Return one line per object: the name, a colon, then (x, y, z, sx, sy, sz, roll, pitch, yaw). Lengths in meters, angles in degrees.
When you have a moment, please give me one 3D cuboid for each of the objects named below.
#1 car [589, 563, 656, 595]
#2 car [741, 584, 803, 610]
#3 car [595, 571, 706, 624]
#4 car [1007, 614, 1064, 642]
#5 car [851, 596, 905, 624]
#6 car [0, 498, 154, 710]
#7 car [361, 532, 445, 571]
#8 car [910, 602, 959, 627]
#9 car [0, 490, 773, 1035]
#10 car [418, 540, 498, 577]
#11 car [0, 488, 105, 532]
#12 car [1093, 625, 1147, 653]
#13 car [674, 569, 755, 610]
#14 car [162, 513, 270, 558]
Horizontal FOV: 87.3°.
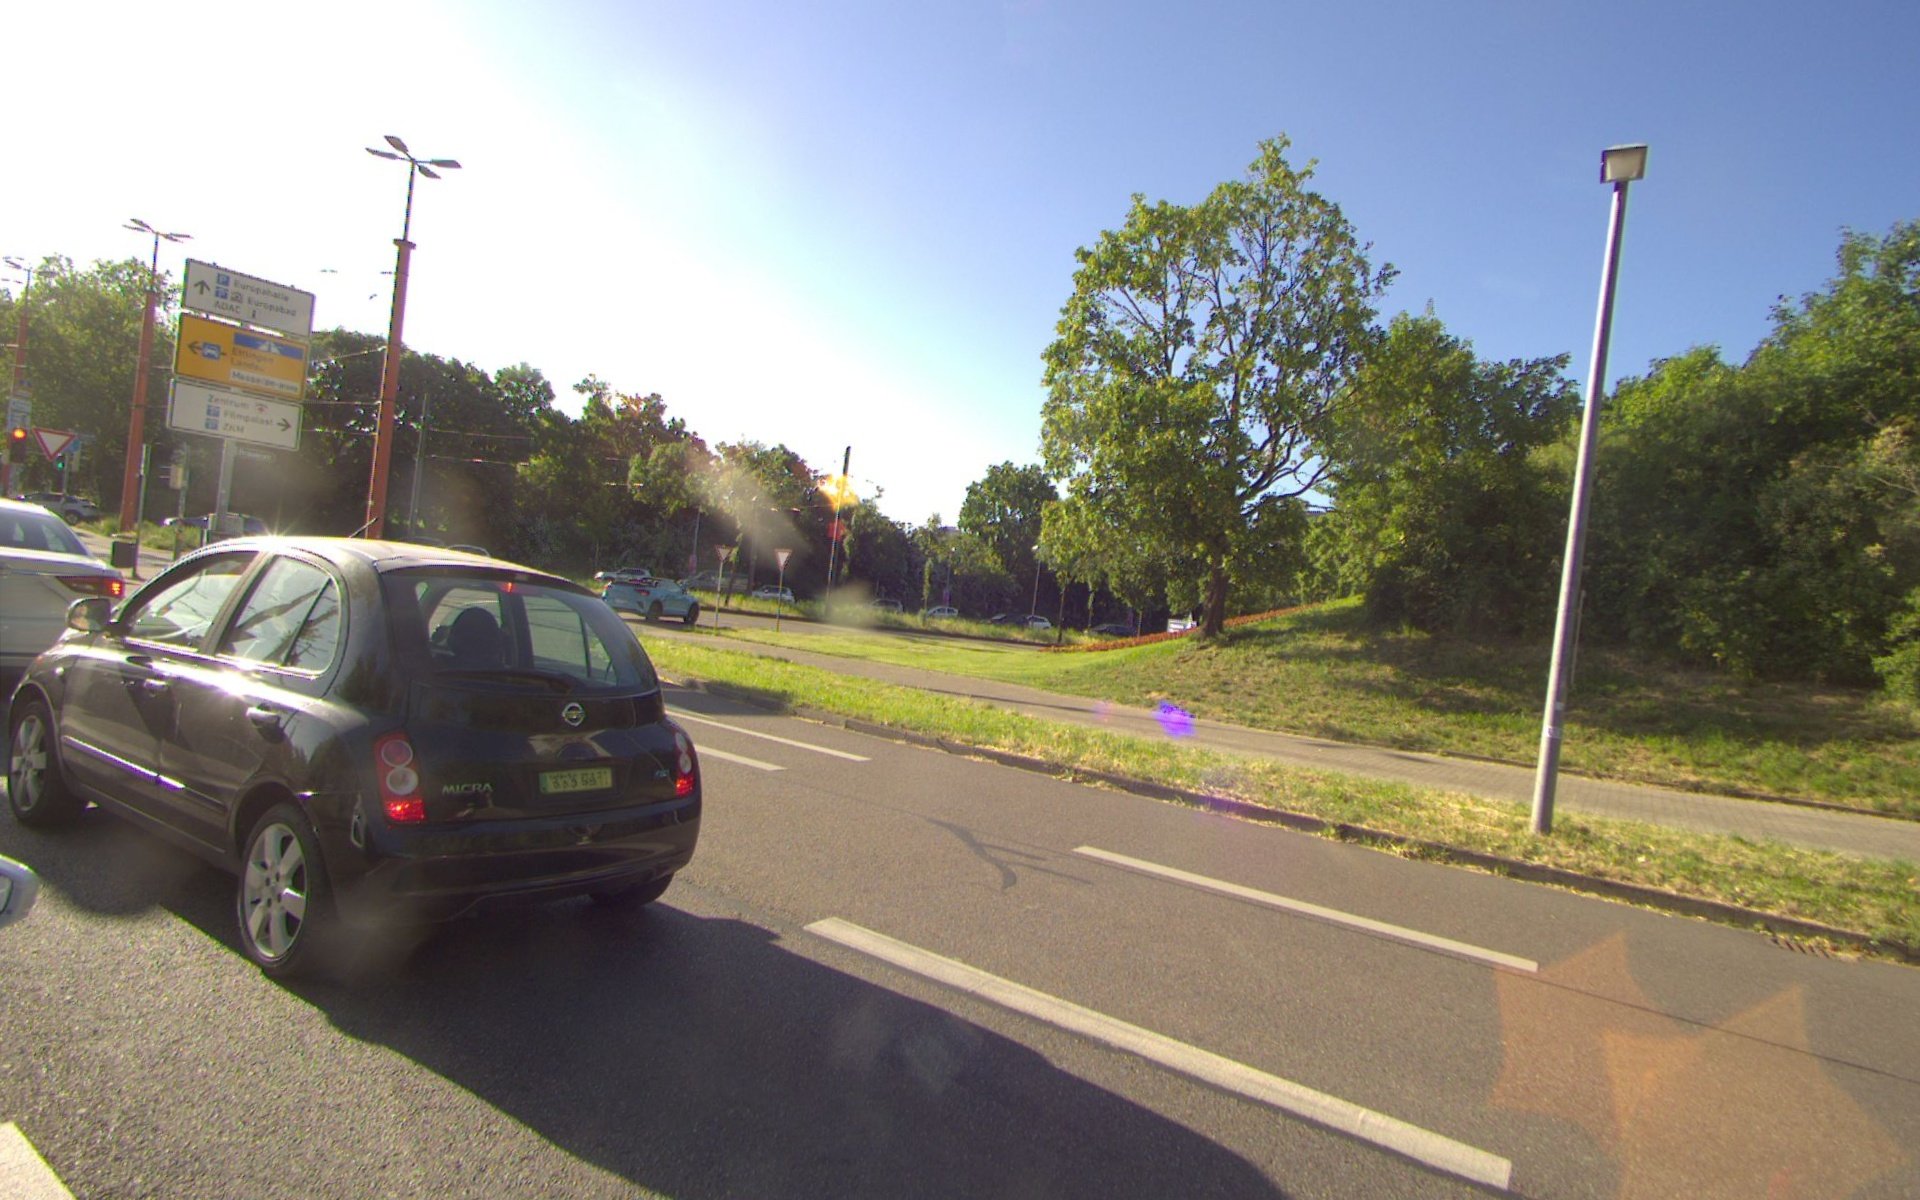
car: (-21.567, -1.326, 64.352, 3.710, 1.491, 1.587, 8, -1, -32)
car: (-13.023, -0.196, 69.792, 3.804, 1.278, 1.590, 9, -3, -32)
car: (-10.396, -0.044, 34.097, 1.706, 1.468, 4.133, 8, 1, 11)
car: (6.092, 2.275, 80.890, 4.195, 1.701, 1.690, 8, -1, -29)
car: (-5.702, 0.682, 70.244, 3.369, 1.475, 1.453, 8, -1, -31)
car: (-8.359, -0.173, 8.026, 4.130, 1.454, 1.723, 7, -1, 33)
car: (-32.545, -2.818, 58.851, 4.090, 1.663, 1.838, 8, -1, -31)
car: (-1.942, 1.105, 76.212, 3.413, 1.384, 1.280, 9, -2, -31)
car: (-2.841, 0.469, 4.700, 3.555, 1.518, 1.657, 7, -2, 32)
car: (-28.304, -2.344, 56.728, 3.791, 1.541, 1.682, 8, -1, -31)
car: (-45.290, -4.481, 49.981, 3.937, 1.457, 1.674, 9, -2, -31)
car: (12.692, 3.126, 79.834, 3.962, 1.662, 1.792, 9, -2, -33)
car: (-15.713, -0.654, 64.466, 4.533, 2.038, 1.986, 8, 0, -28)
car: (-37.659, -3.241, 51.035, 4.089, 1.617, 1.814, 8, -1, -31)
